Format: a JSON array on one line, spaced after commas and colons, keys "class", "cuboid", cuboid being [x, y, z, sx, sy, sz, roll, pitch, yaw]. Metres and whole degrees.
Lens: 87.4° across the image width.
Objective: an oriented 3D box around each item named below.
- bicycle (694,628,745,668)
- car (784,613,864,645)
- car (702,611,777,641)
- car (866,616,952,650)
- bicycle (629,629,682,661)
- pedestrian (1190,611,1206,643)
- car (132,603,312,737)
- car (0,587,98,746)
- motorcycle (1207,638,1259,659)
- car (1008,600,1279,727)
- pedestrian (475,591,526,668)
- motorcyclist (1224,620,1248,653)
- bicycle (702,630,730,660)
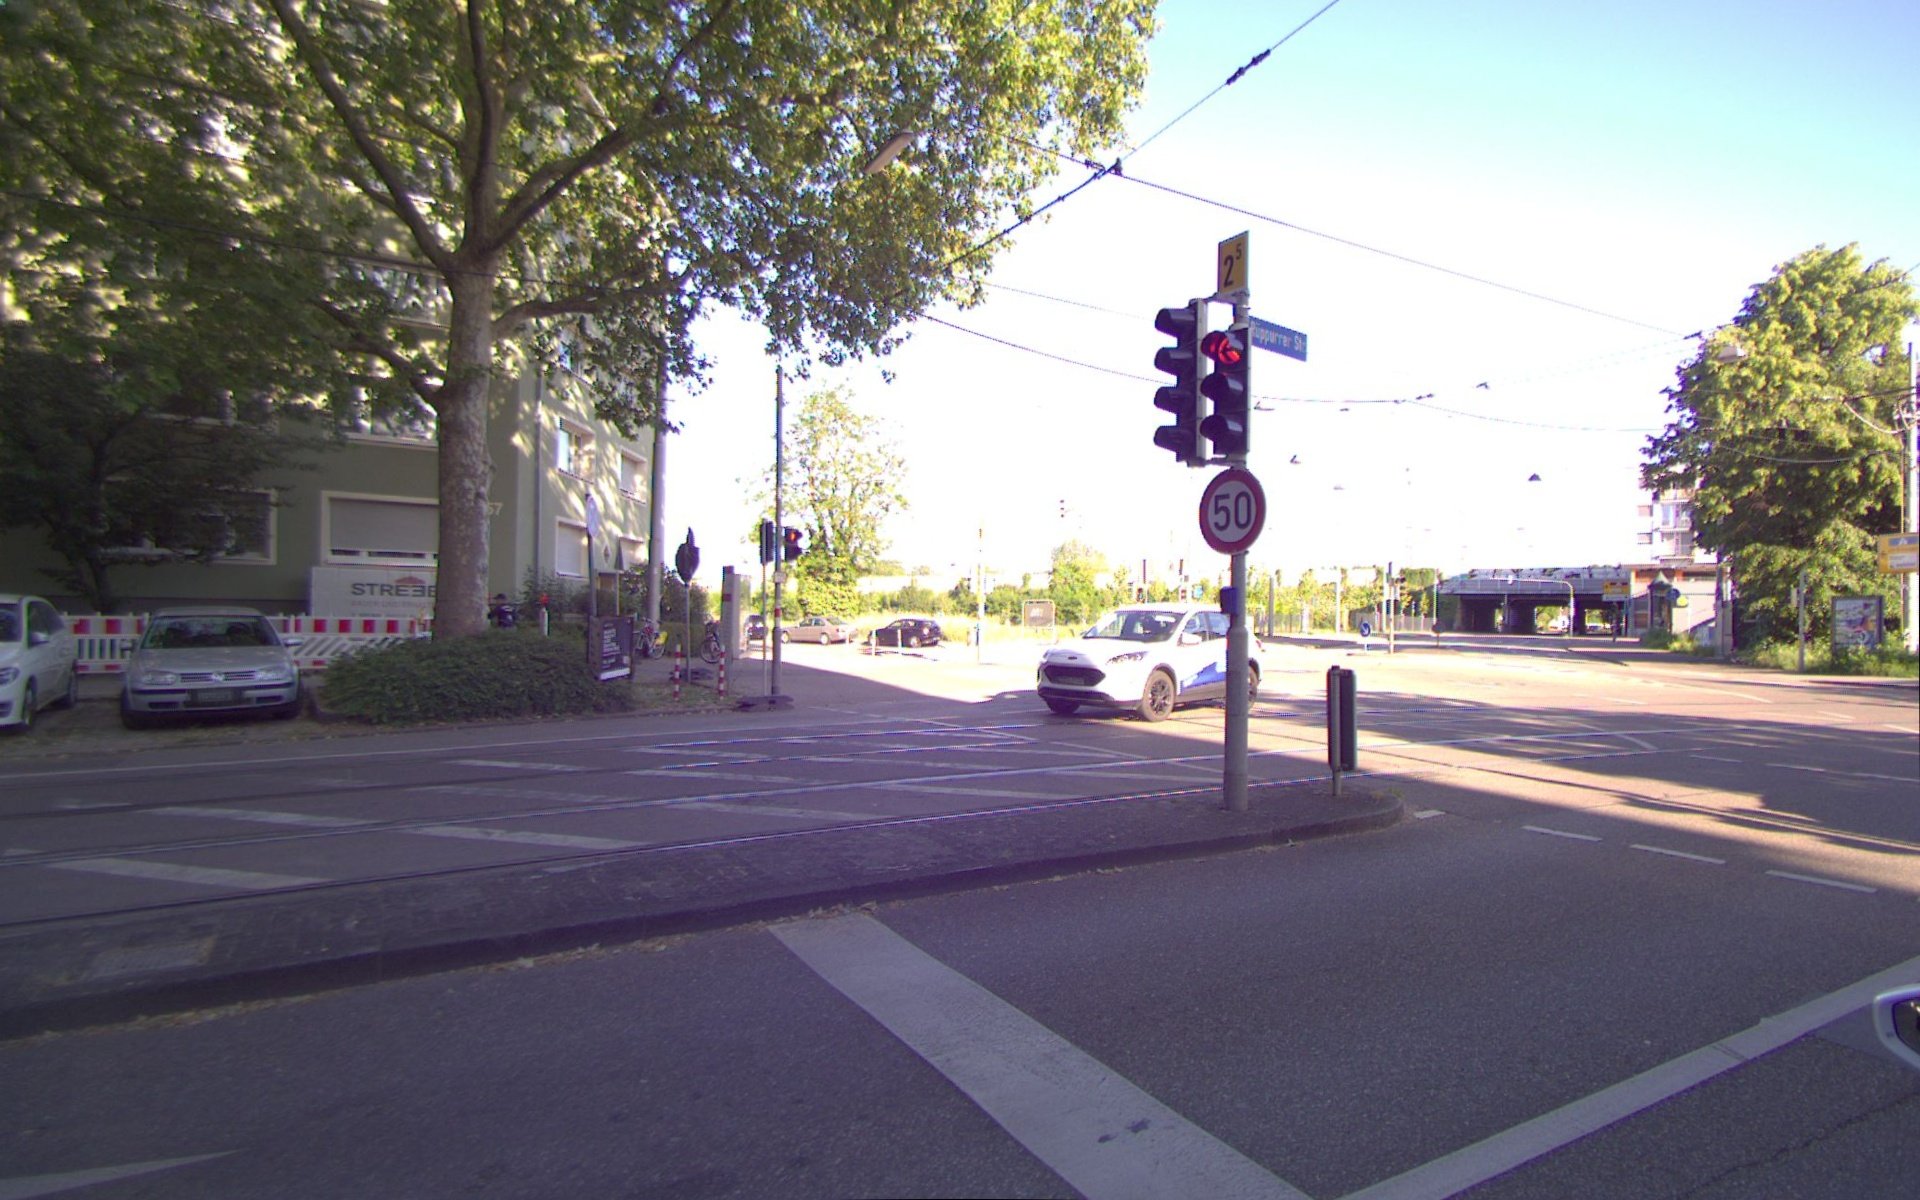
[{"class": "bicycle", "cuboid": [-5.865, 1.160, 24.431, 0.356, 0.900, 1.757, 1, -1, -43]}, {"class": "car", "cuboid": [-7.310, 1.542, 54.080, 3.930, 1.439, 1.889, 1, 5, 32]}, {"class": "car", "cuboid": [-12.658, 1.452, 57.610, 3.930, 1.439, 1.889, 1, 5, 32]}, {"class": "car", "cuboid": [-2.599, 1.639, 50.964, 3.930, 1.439, 1.889, 1, 5, 32]}, {"class": "bicycle", "cuboid": [-7.669, 1.119, 25.358, 0.351, 0.769, 1.781, 1, -1, 16]}, {"class": "pedestrian", "cuboid": [12.303, 1.378, 51.947, 0.591, 1.617, 0.683, 2, 0, 32]}, {"class": "car", "cuboid": [-9.977, 0.837, 13.541, 1.689, 1.436, 3.956, 3, 0, -38]}, {"class": "car", "cuboid": [-11.955, 0.679, 12.017, 1.824, 1.633, 4.048, 2, 0, -32]}, {"class": "motorcycle", "cuboid": [12.621, 2.241, 46.461, 2.308, 0.882, 0.729, 2, 0, -20]}, {"class": "car", "cuboid": [2.962, 0.881, 15.477, 1.972, 1.653, 4.605, 0, -1, 42]}, {"class": "pedestrian", "cuboid": [-9.718, 0.618, 21.252, 0.591, 1.589, 0.741, 1, -1, 31]}, {"class": "motorcyclist", "cuboid": [12.768, 1.692, 46.522, 0.783, 1.452, 0.711, 2, 0, -19]}, {"class": "bicycle", "cuboid": [-6.682, 1.213, 27.517, 0.351, 0.769, 1.780, 1, -1, -1]}]
